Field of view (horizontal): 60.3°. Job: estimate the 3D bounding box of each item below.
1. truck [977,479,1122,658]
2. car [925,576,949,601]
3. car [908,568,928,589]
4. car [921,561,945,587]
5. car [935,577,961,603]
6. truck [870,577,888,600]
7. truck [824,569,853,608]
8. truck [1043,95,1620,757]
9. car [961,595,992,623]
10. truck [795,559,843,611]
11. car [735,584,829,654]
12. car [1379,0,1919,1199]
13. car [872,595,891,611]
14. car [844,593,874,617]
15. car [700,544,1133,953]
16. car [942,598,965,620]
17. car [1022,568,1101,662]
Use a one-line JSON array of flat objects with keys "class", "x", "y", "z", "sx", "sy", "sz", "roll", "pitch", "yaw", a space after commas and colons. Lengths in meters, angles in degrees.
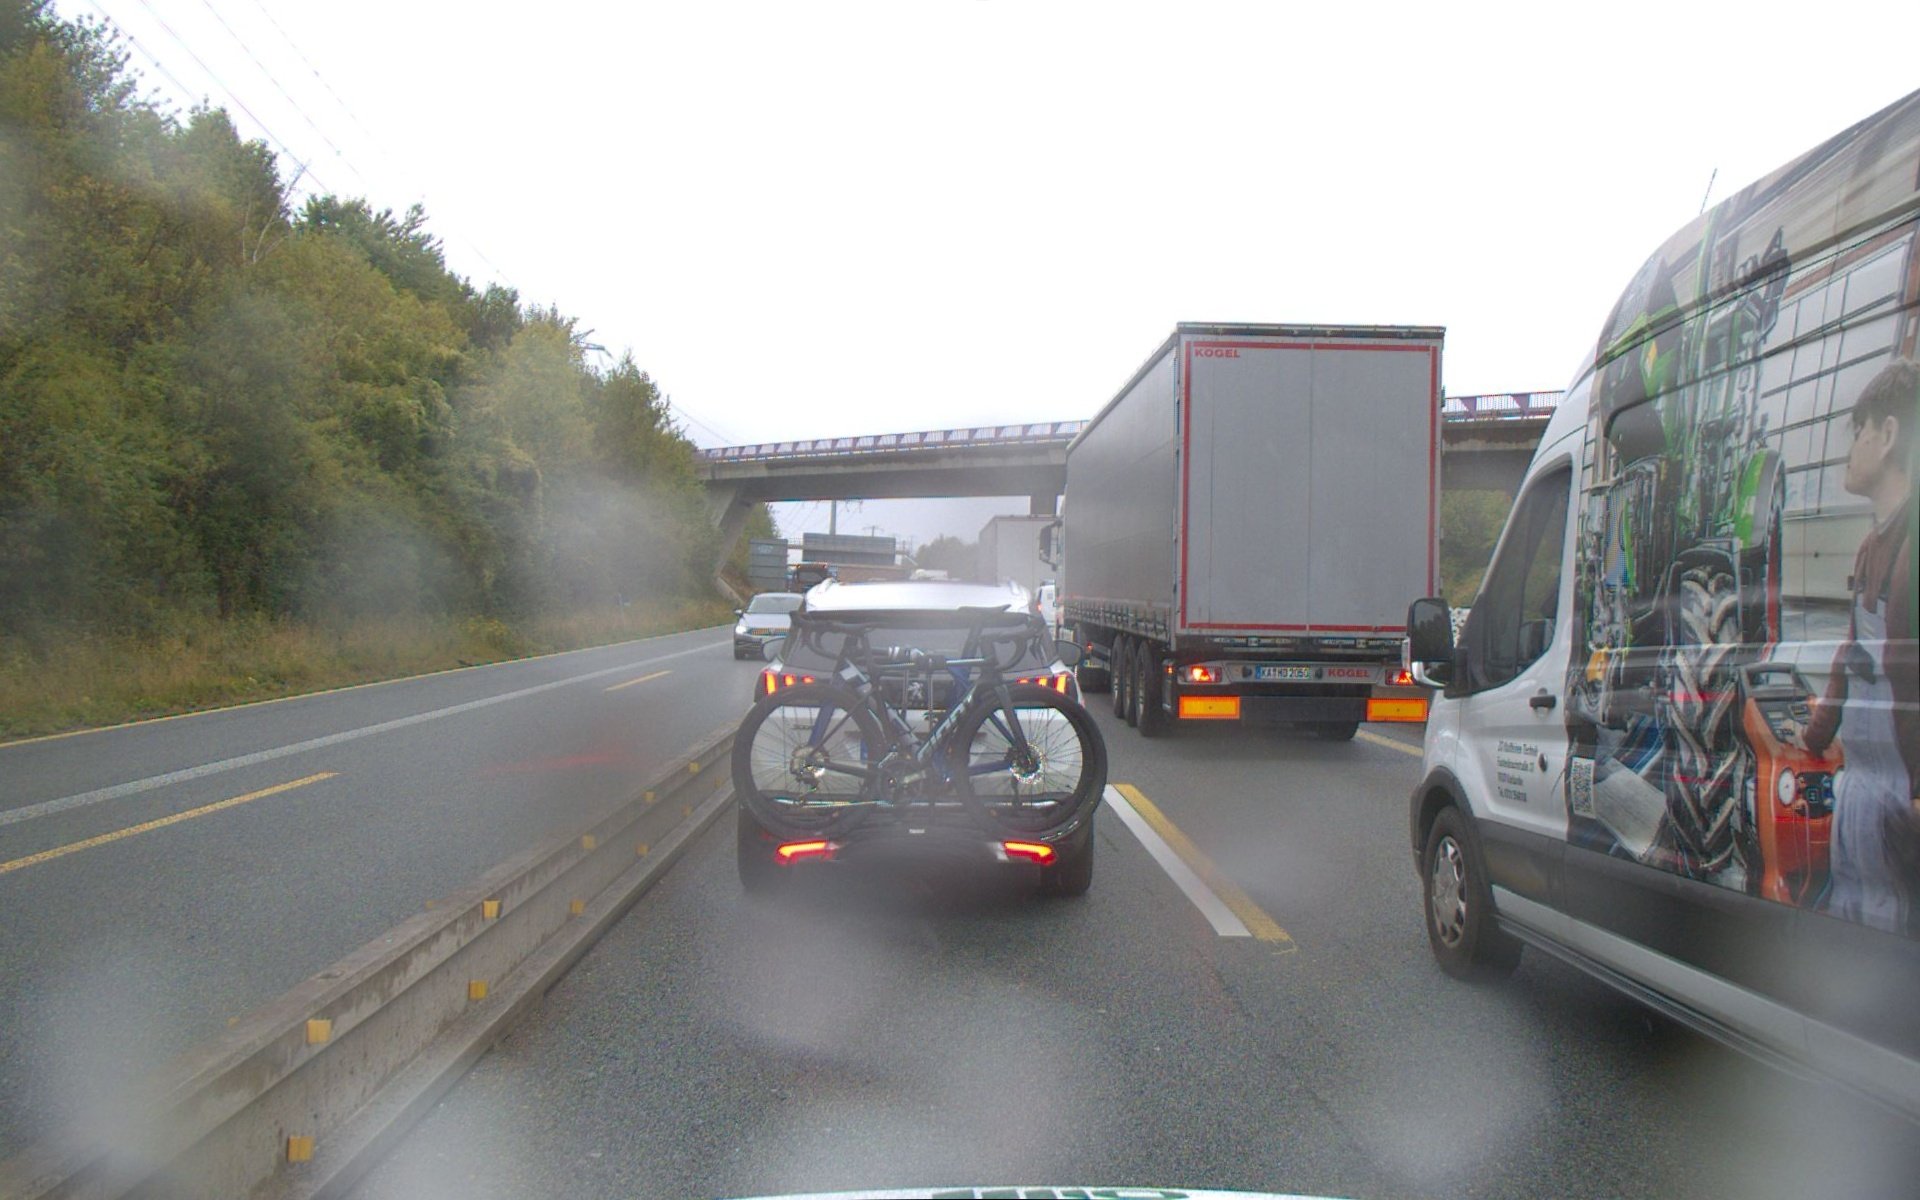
[{"class": "truck", "x": 3.042, "y": -0.981, "z": 64.034, "sx": 4.645, "sy": 5.772, "sz": 20.376, "roll": 1, "pitch": 0, "yaw": 1}, {"class": "car", "x": -1.983, "y": -0.986, "z": 142.963, "sx": 1.953, "sy": 2.049, "sz": 3.999, "roll": 1, "pitch": 0, "yaw": 0}, {"class": "car", "x": -4.483, "y": -2.242, "z": 176.361, "sx": 1.953, "sy": 2.164, "sz": 4.526, "roll": 1, "pitch": 0, "yaw": 0}, {"class": "car", "x": -2.544, "y": -2.465, "z": 155.796, "sx": 2.193, "sy": 2.347, "sz": 4.571, "roll": 1, "pitch": 0, "yaw": 0}, {"class": "car", "x": -0.959, "y": -0.777, "z": 130.265, "sx": 1.953, "sy": 2.049, "sz": 3.999, "roll": 1, "pitch": 0, "yaw": 0}, {"class": "truck", "x": -12.692, "y": -1.745, "z": 260.701, "sx": 2.483, "sy": 3.411, "sz": 12.046, "roll": 1, "pitch": 0, "yaw": -1}, {"class": "truck", "x": -13.985, "y": -1.217, "z": 189.213, "sx": 2.712, "sy": 4.195, "sz": 16.905, "roll": 1, "pitch": 0, "yaw": -6}, {"class": "truck", "x": 3.794, "y": -1.495, "z": 24.752, "sx": 3.898, "sy": 5.772, "sz": 20.373, "roll": 1, "pitch": 0, "yaw": 0}, {"class": "car", "x": 0.907, "y": 0.486, "z": 92.343, "sx": 1.605, "sy": 1.524, "sz": 3.665, "roll": 1, "pitch": 0, "yaw": 0}, {"class": "truck", "x": -10.533, "y": -1.062, "z": 124.855, "sx": 2.627, "sy": 3.720, "sz": 12.310, "roll": 1, "pitch": 0, "yaw": 0}, {"class": "car", "x": -4.044, "y": 0.422, "z": 38.185, "sx": 1.773, "sy": 1.514, "sz": 4.395, "roll": 1, "pitch": 0, "yaw": -1}, {"class": "car", "x": 3.051, "y": 0.088, "z": 4.682, "sx": 2.100, "sy": 2.723, "sz": 6.116, "roll": 1, "pitch": 0, "yaw": -1}, {"class": "car", "x": -7.002, "y": 0.248, "z": 148.512, "sx": 1.652, "sy": 1.434, "sz": 3.928, "roll": 1, "pitch": 0, "yaw": -2}, {"class": "car", "x": -6.357, "y": 0.323, "z": 104.480, "sx": 1.744, "sy": 1.469, "sz": 4.327, "roll": 1, "pitch": 0, "yaw": -2}, {"class": "car", "x": -0.151, "y": 0.624, "z": 9.170, "sx": 1.773, "sy": 1.666, "sz": 4.635, "roll": 1, "pitch": 0, "yaw": 1}, {"class": "car", "x": -0.446, "y": 0.664, "z": 117.777, "sx": 1.605, "sy": 1.524, "sz": 3.665, "roll": 1, "pitch": 0, "yaw": 0}, {"class": "car", "x": 2.509, "y": 0.362, "z": 41.782, "sx": 1.636, "sy": 2.218, "sz": 4.534, "roll": 1, "pitch": 0, "yaw": -1}]
